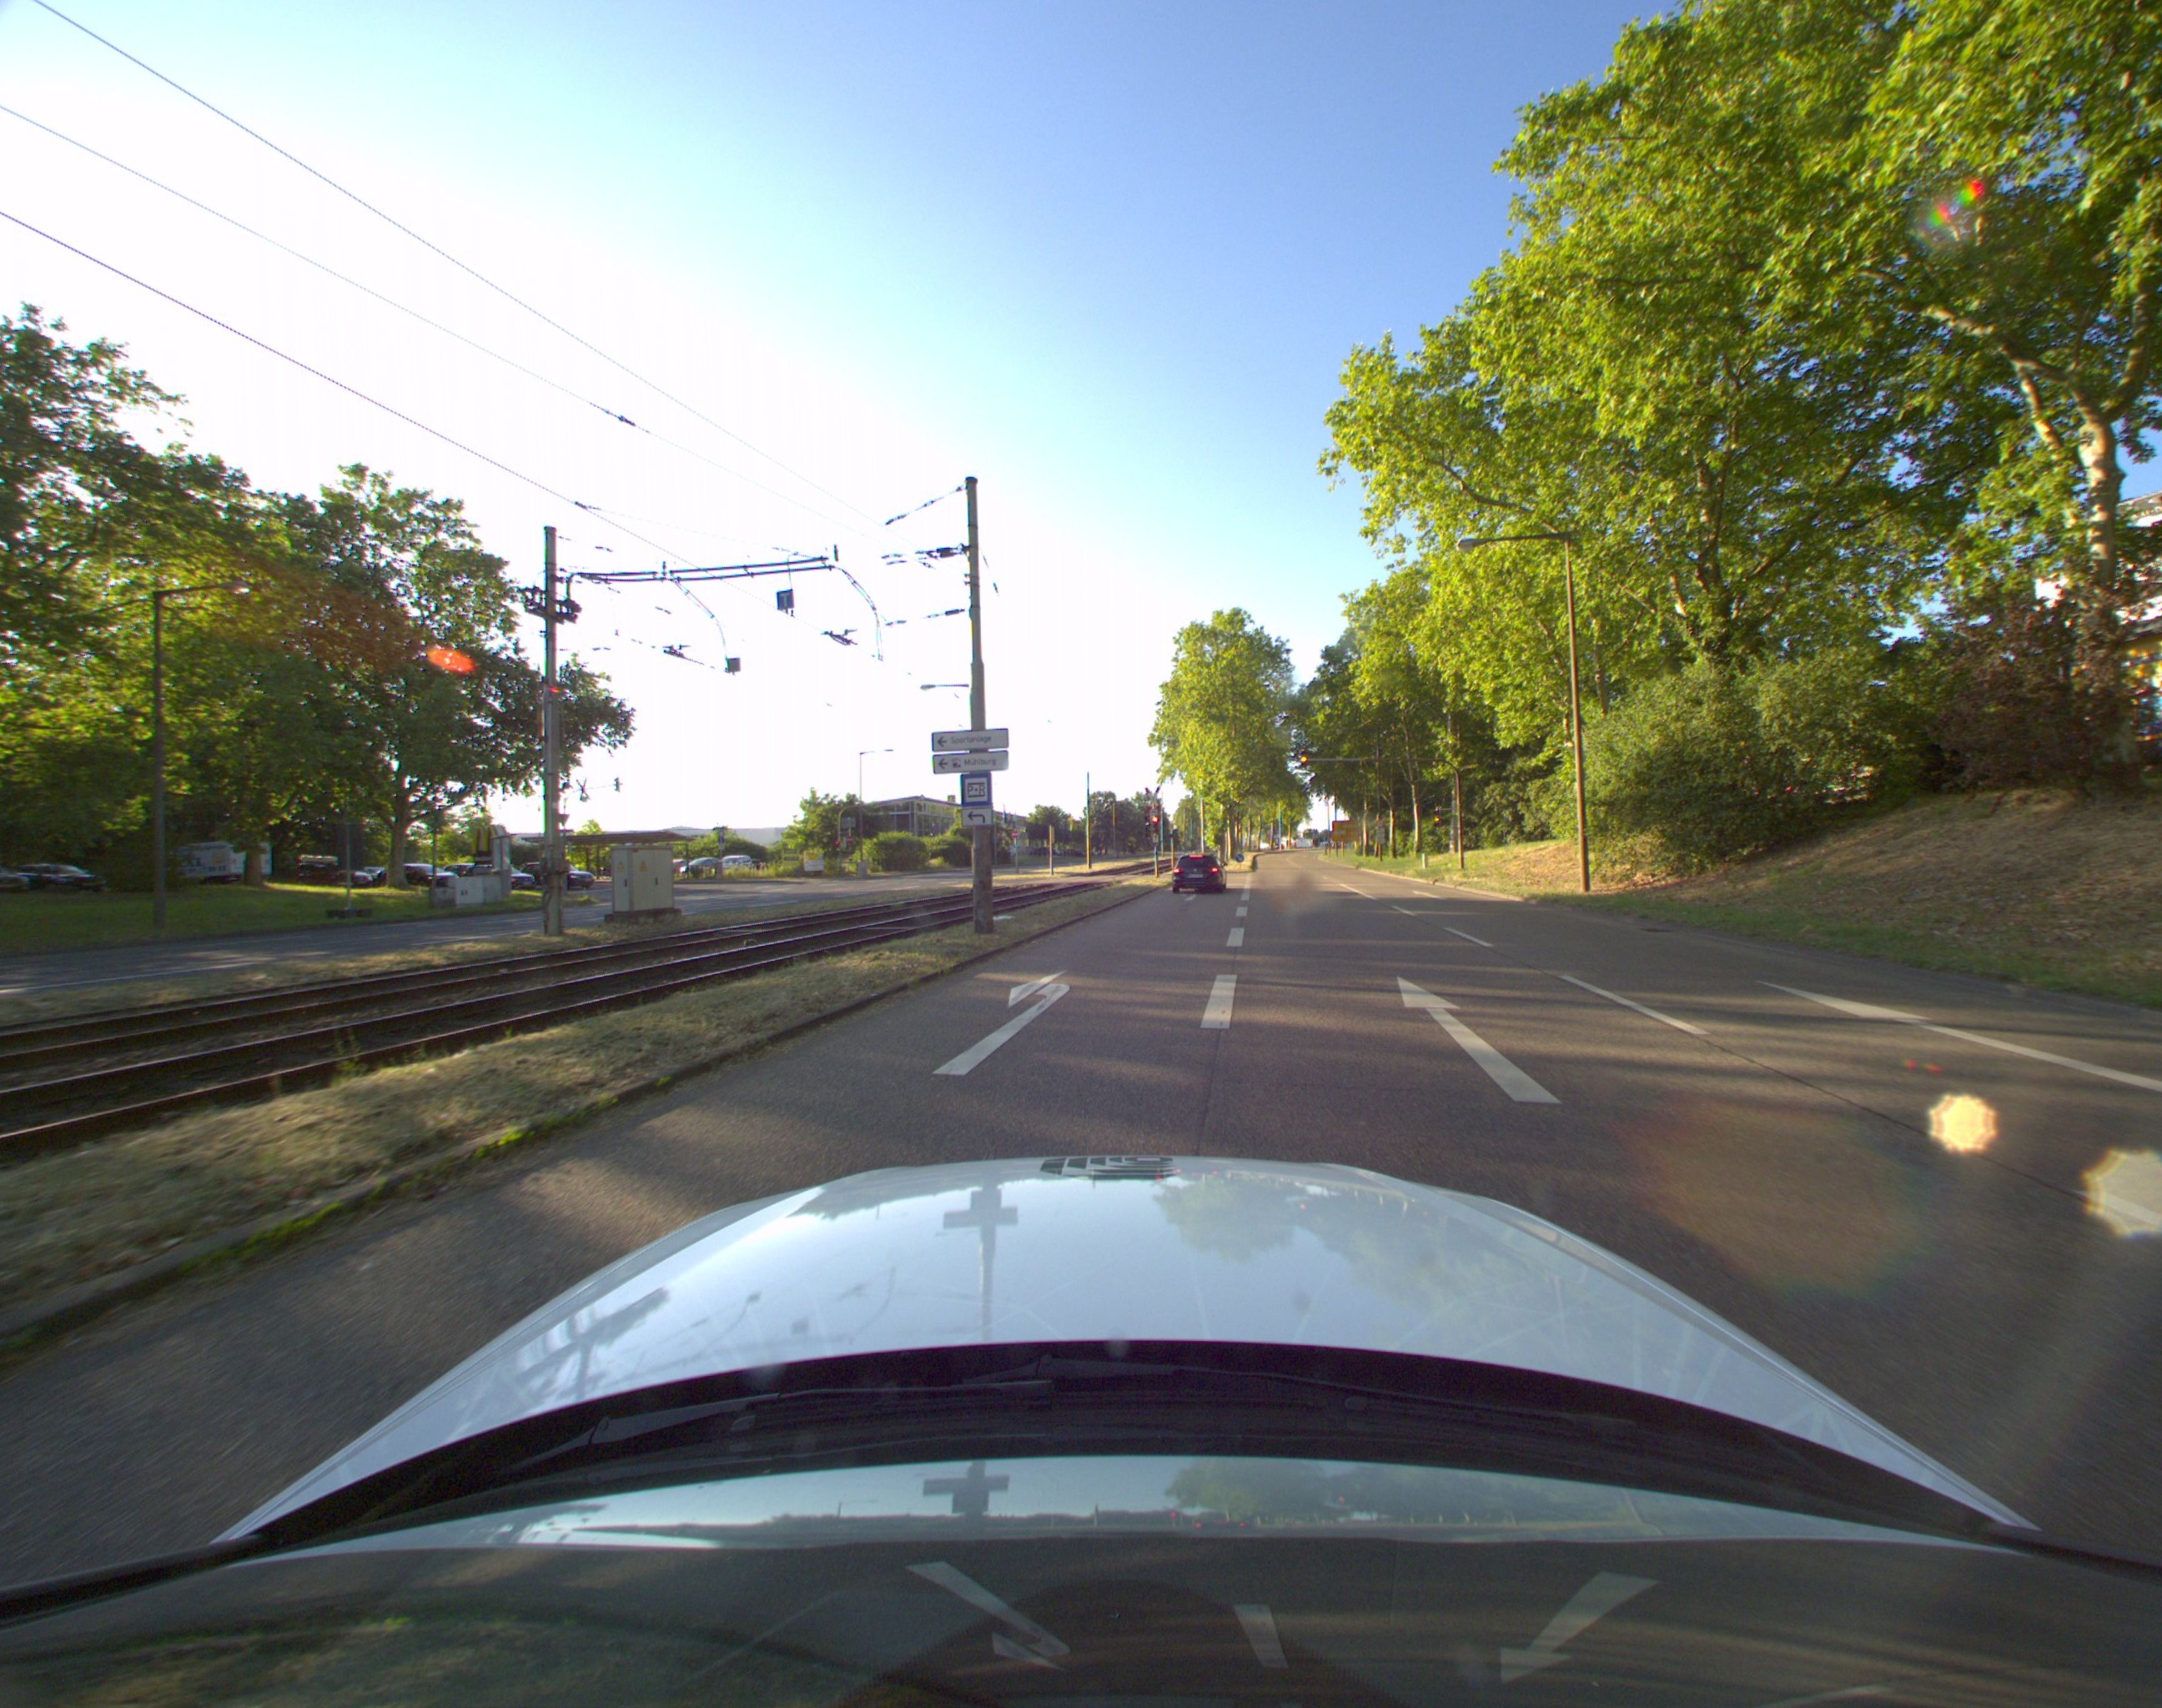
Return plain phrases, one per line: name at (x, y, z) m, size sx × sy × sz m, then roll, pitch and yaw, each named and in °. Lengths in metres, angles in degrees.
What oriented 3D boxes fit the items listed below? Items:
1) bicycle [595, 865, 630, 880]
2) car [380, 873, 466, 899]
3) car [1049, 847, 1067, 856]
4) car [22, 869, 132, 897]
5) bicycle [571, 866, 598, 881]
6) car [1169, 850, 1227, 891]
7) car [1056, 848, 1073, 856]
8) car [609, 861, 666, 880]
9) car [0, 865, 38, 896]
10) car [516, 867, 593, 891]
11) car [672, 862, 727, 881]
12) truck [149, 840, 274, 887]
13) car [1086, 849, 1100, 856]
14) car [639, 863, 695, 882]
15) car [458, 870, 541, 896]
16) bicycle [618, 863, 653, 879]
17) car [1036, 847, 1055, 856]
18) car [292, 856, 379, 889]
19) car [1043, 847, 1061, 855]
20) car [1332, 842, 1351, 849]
bicycle at (-35.316, 1.412, 61.408) m, size 0.659 × 1.065 × 2.206 m, roll -1°, pitch 0°, yaw 42°
car at (-38.663, 1.879, 47.887) m, size 4.026 × 1.387 × 1.790 m, roll -1°, pitch 0°, yaw 13°
car at (-4.318, -0.464, 153.392) m, size 3.124 × 1.490 × 1.459 m, roll -1°, pitch 0°, yaw 8°
car at (-49.187, 1.420, 39.933) m, size 3.962 × 1.260 × 1.679 m, roll -1°, pitch 0°, yaw 10°
bicycle at (-37.416, 1.439, 61.402) m, size 0.663 × 1.065 × 2.193 m, roll -1°, pitch 0°, yaw 2°
car at (4.399, 0.579, 30.170) m, size 1.780 × 1.403 × 3.702 m, roll -1°, pitch 0°, yaw 13°
car at (-3.176, -0.432, 157.407) m, size 3.124 × 1.490 × 1.459 m, roll -1°, pitch 0°, yaw 8°
car at (-36.967, 1.361, 67.987) m, size 1.827 × 1.442 × 4.016 m, roll -1°, pitch 0°, yaw 15°
car at (-49.698, 1.209, 36.688) m, size 3.962 × 1.372 × 1.679 m, roll -1°, pitch 0°, yaw 10°
car at (-32.150, 1.542, 49.787) m, size 4.022 × 1.387 × 1.792 m, roll -1°, pitch 0°, yaw 18°
car at (-30.894, 1.378, 66.098) m, size 1.827 × 1.442 × 4.016 m, roll -1°, pitch 0°, yaw 15°
truck at (-67.065, 0.737, 62.829) m, size 8.231 × 3.388 × 2.744 m, roll -1°, pitch 0°, yaw 13°
car at (2.836, -0.370, 195.290) m, size 3.124 × 1.490 × 1.459 m, roll -1°, pitch 0°, yaw 8°
car at (-34.063, 1.481, 67.099) m, size 1.827 × 1.442 × 4.016 m, roll -1°, pitch 0°, yaw 15°
car at (-33.301, 1.642, 46.665) m, size 4.022 × 1.387 × 1.792 m, roll -1°, pitch 0°, yaw 18°
bicycle at (-32.870, 1.246, 60.084) m, size 0.659 × 1.065 × 2.206 m, roll -1°, pitch 0°, yaw 30°
car at (-6.432, -0.499, 147.201) m, size 3.124 × 1.490 × 1.459 m, roll -1°, pitch 0°, yaw 8°
car at (-44.851, 1.106, 49.011) m, size 3.957 × 1.860 × 2.008 m, roll -2°, pitch 0°, yaw 15°
car at (-5.376, -0.504, 150.038) m, size 3.124 × 1.490 × 1.459 m, roll -1°, pitch 0°, yaw 8°
car at (56.967, -1.796, 177.930) m, size 3.687 × 1.403 × 1.787 m, roll -1°, pitch -1°, yaw -19°
